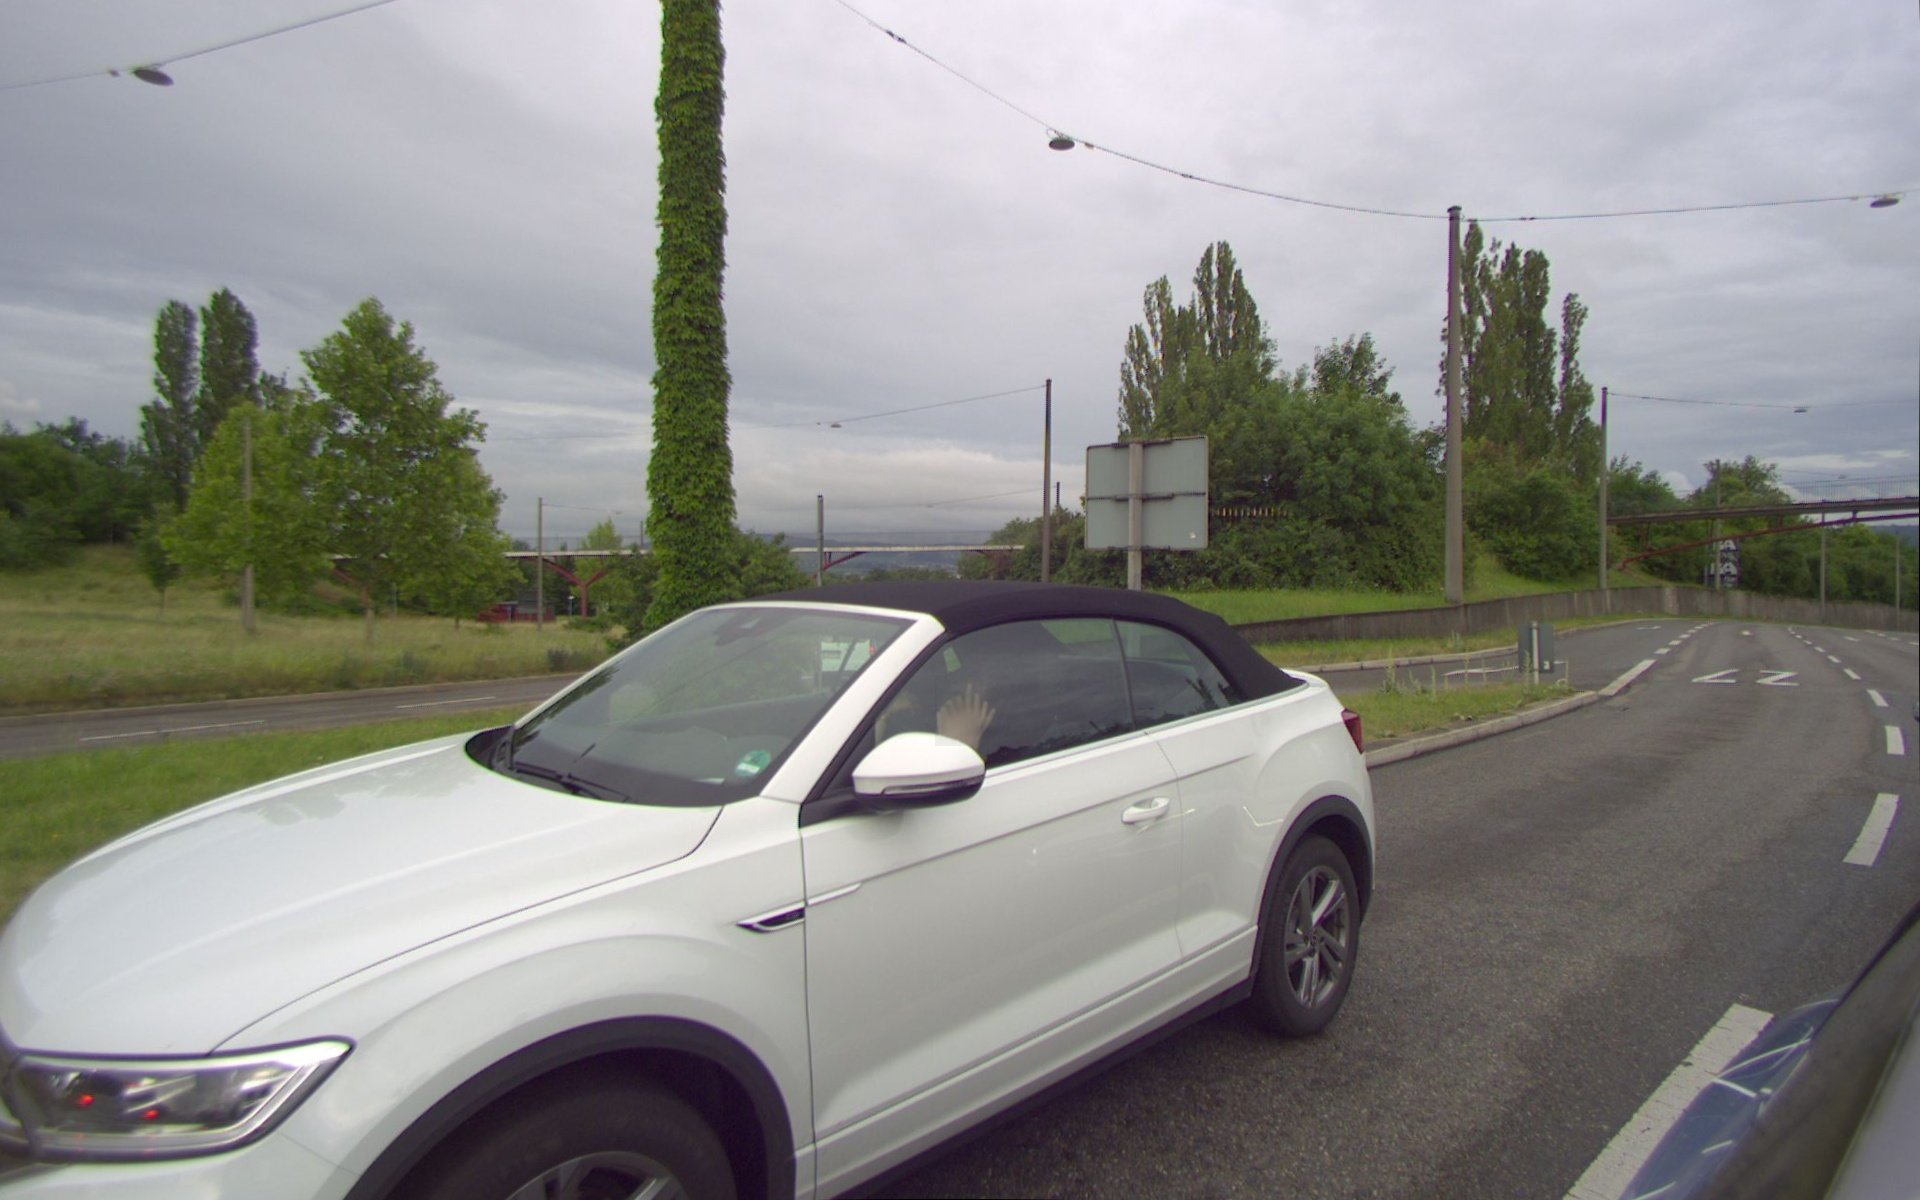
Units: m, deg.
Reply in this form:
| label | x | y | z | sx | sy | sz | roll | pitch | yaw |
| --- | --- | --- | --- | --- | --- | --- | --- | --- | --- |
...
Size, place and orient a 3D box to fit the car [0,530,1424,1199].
| label | x | y | z | sx | sy | sz | roll | pitch | yaw |
| --- | --- | --- | --- | --- | --- | --- | --- | --- | --- |
| car | -0.293 | 0.674 | 3.051 | 4.160 | 1.572 | 1.714 | -1 | 1 | -44 |

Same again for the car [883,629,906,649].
| label | x | y | z | sx | sy | sz | roll | pitch | yaw |
| --- | --- | --- | --- | --- | --- | --- | --- | --- | --- |
| car | -5.045 | 2.987 | 78.136 | 1.653 | 1.438 | 4.082 | -1 | -2 | -2 |

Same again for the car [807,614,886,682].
| label | x | y | z | sx | sy | sz | roll | pitch | yaw |
| --- | --- | --- | --- | --- | --- | --- | --- | --- | --- |
| car | -3.365 | 1.415 | 30.828 | 1.961 | 1.872 | 4.823 | -1 | -2 | -2 |
